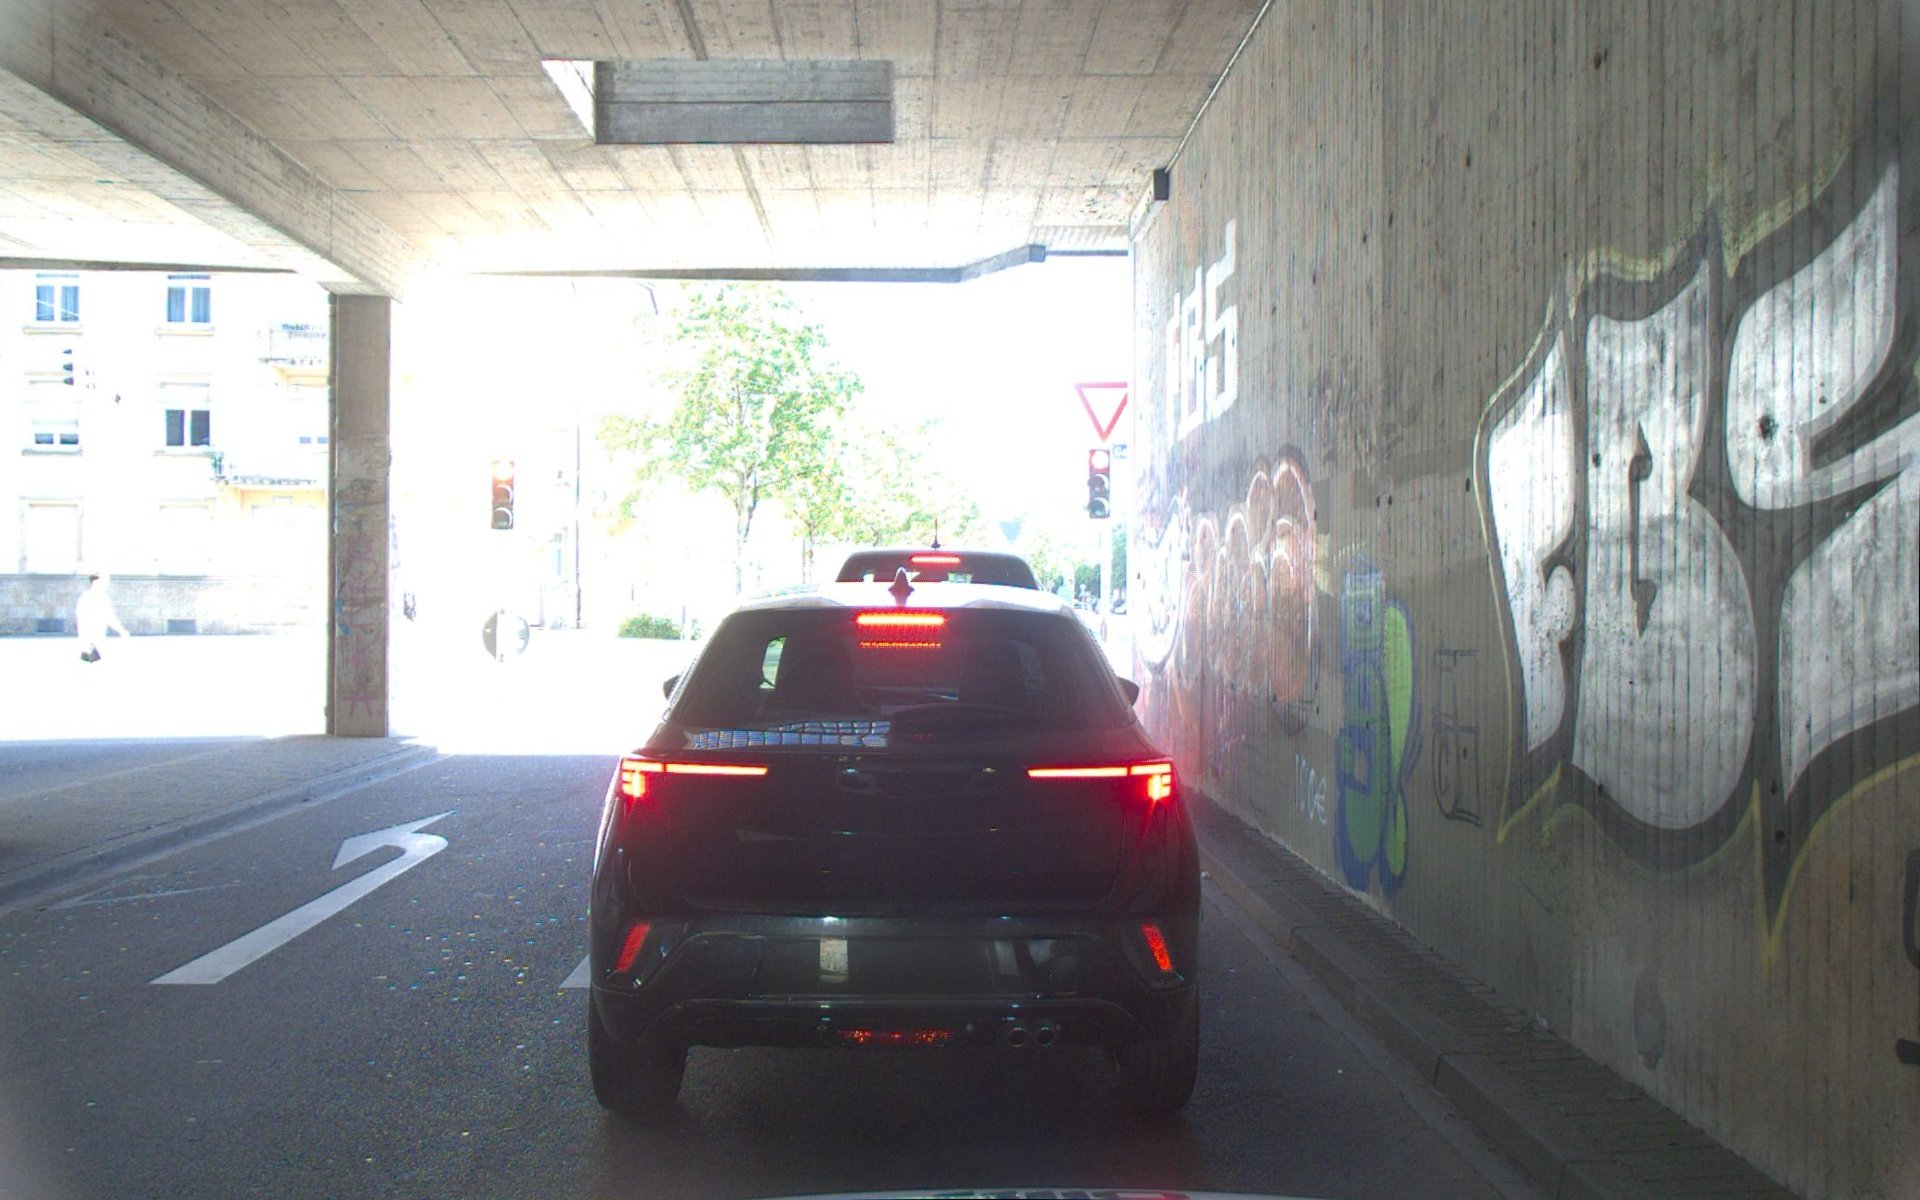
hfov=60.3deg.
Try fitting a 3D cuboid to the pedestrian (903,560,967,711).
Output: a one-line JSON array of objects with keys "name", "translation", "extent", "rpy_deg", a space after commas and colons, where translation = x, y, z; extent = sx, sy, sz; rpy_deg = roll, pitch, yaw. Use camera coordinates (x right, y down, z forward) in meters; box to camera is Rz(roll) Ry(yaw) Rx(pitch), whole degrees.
[{"name": "pedestrian", "translation": [-0.297, 0.419, 19.826], "extent": [0.716, 1.764, 0.874], "rpy_deg": [1, -1, -1]}]

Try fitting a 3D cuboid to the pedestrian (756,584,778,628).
[{"name": "pedestrian", "translation": [-9.393, 0.308, 80.642], "extent": [0.873, 2.124, 0.808], "rpy_deg": [1, -1, 7]}]

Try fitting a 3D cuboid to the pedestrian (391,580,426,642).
[{"name": "pedestrian", "translation": [-14.920, 0.299, 44.737], "extent": [0.658, 1.666, 0.740], "rpy_deg": [1, -1, -1]}]

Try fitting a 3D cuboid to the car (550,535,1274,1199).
[{"name": "car", "translation": [-0.143, 0.611, 6.012], "extent": [1.729, 1.598, 4.000], "rpy_deg": [1, 1, -1]}]

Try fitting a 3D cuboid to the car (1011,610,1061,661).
[{"name": "car", "translation": [3.175, 1.446, 68.467], "extent": [1.951, 2.004, 4.166], "rpy_deg": [1, 0, 4]}]

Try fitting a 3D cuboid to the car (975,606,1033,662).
[{"name": "car", "translation": [1.692, 1.256, 62.203], "extent": [1.951, 2.004, 4.166], "rpy_deg": [1, 0, 4]}]

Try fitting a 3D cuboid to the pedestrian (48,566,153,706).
[{"name": "pedestrian", "translation": [-11.287, 0.465, 21.747], "extent": [0.910, 1.792, 0.794], "rpy_deg": [1, -1, 1]}]

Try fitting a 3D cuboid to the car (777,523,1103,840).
[{"name": "car", "translation": [-0.148, 0.477, 11.961], "extent": [1.953, 1.904, 3.999], "rpy_deg": [0, 0, -1]}]
